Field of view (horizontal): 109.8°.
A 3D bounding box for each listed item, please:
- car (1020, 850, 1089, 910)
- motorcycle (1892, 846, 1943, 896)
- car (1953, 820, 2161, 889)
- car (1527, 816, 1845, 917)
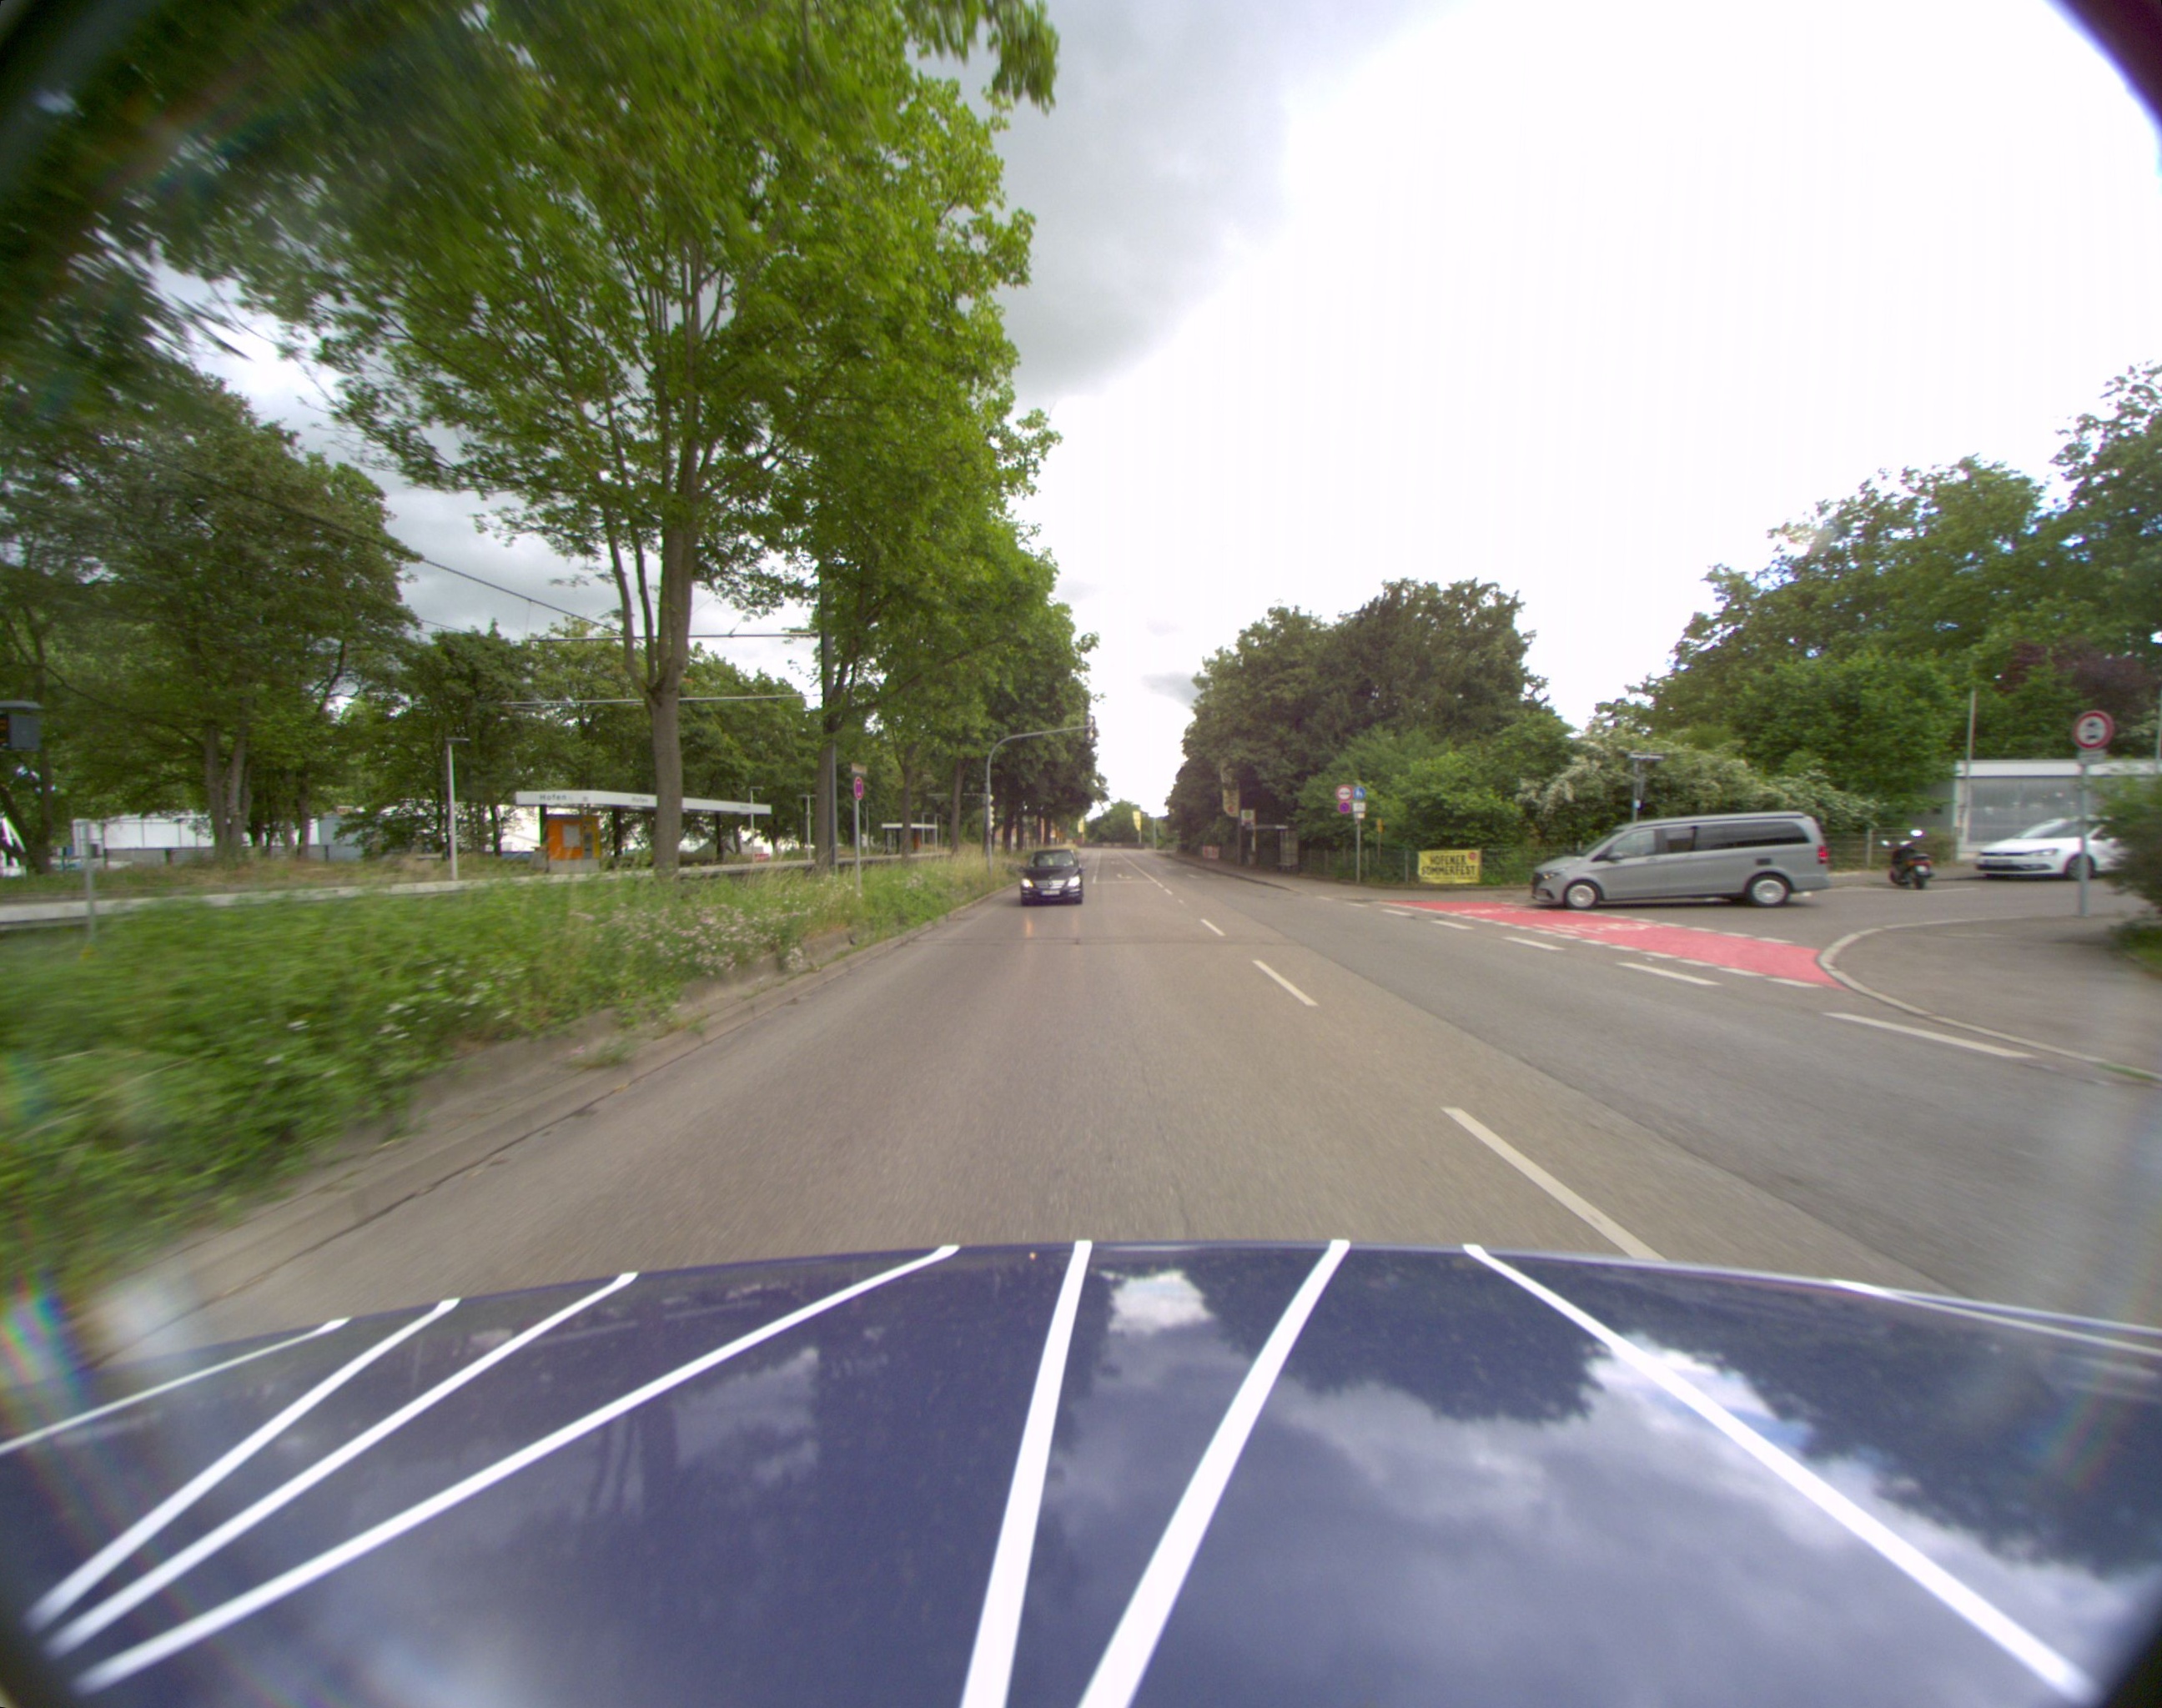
[{"bbox_3d":[-0.702,0.695,22.820,1.751,1.556,4.074,0,1,2],"label":"car"},{"bbox_3d":[19.226,0.375,17.486,0.459,1.062,1.651,-1,1,36],"label":"motorcycle"},{"bbox_3d":[23.283,-0.005,17.769,3.906,1.434,1.604,-2,1,0],"label":"car"},{"bbox_3d":[12.988,0.310,16.829,5.143,1.916,1.955,-3,0,25],"label":"car"}]
